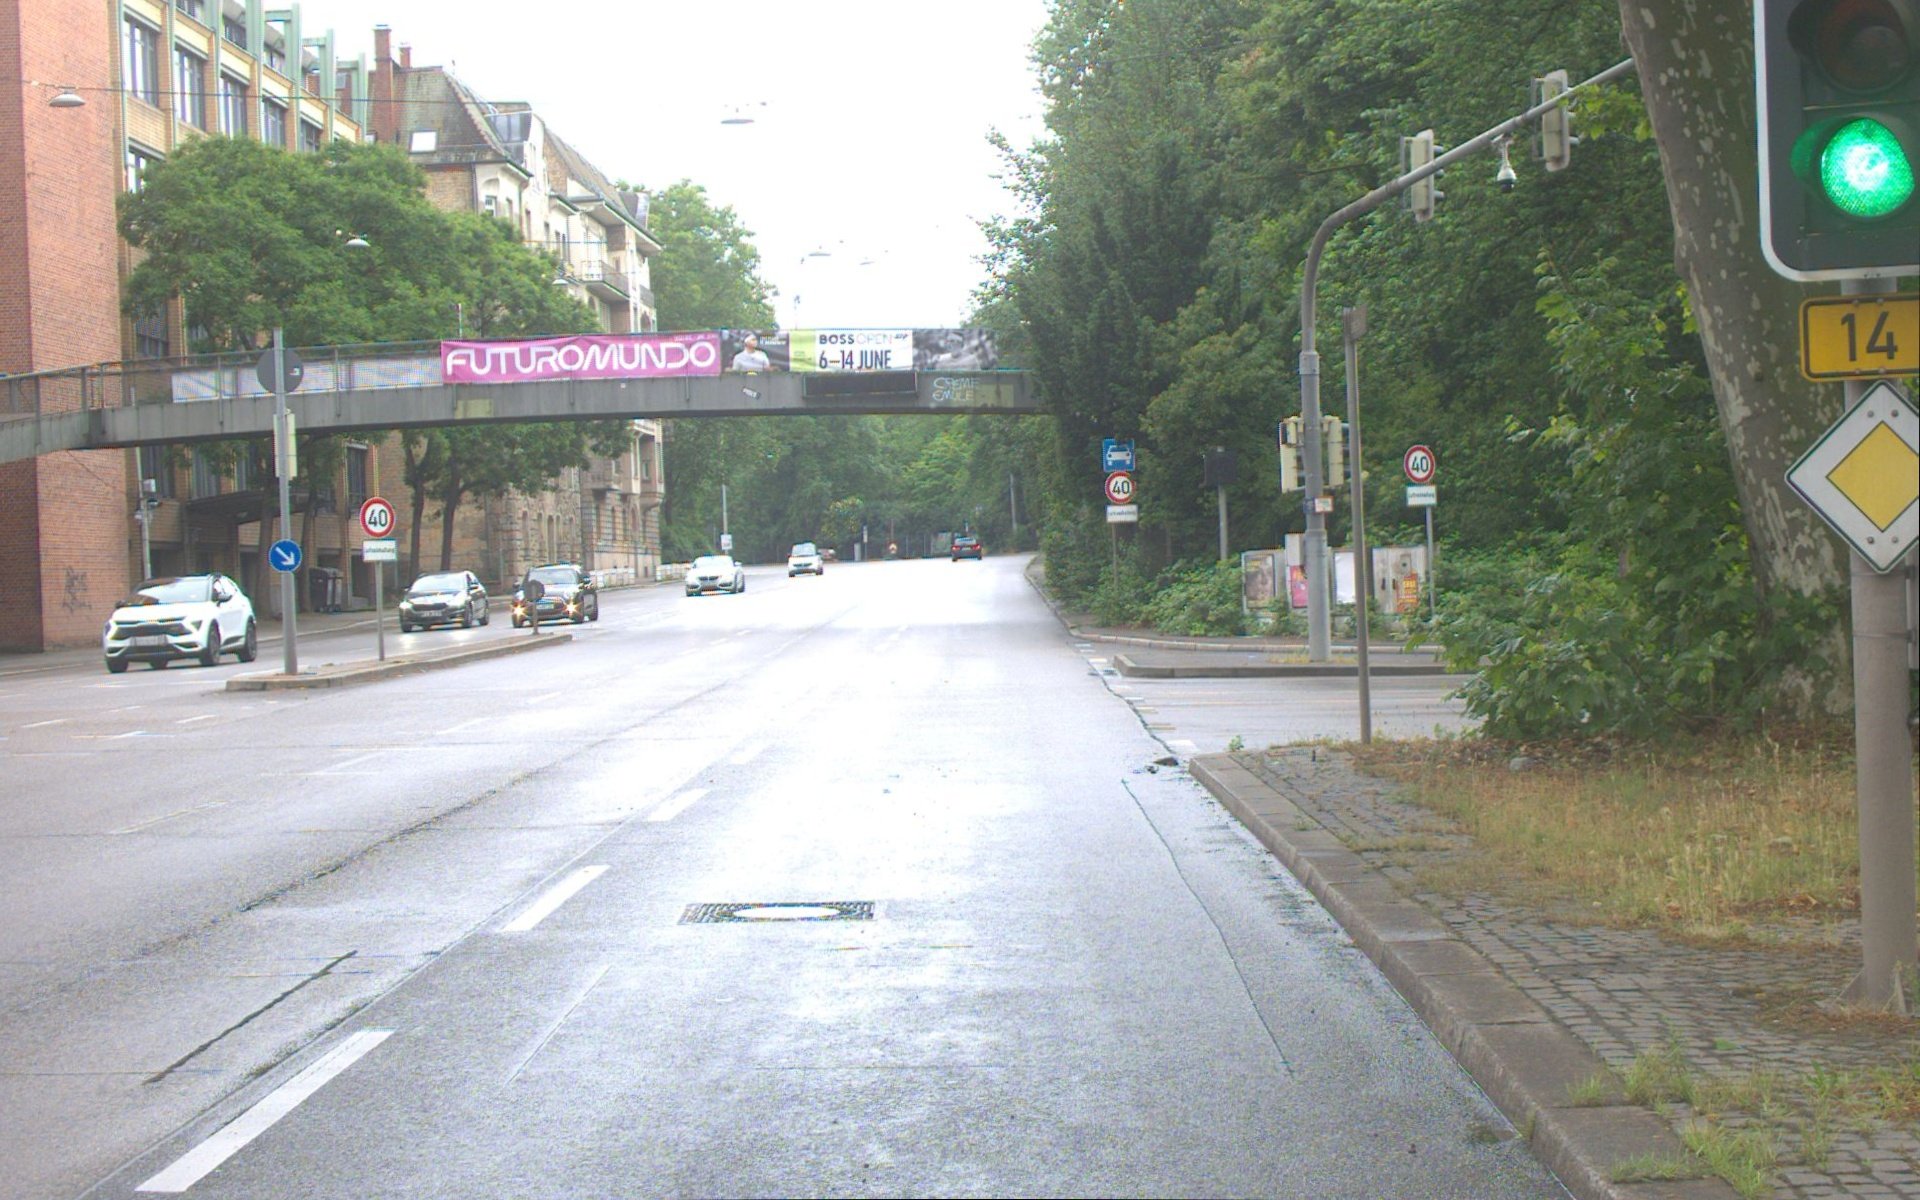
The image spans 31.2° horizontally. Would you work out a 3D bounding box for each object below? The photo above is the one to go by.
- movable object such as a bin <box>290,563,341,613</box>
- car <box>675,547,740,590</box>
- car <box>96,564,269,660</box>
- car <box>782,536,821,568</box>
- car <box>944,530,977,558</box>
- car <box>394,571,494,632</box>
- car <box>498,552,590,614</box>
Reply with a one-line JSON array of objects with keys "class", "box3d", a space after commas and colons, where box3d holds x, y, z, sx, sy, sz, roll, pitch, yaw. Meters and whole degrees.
[{"class": "movable object such as a bin", "box3d": [-20.082, -0.373, 107.186, 1.282, 1.513, 1.273, -1, 1, 1]}, {"class": "car", "box3d": [-8.876, -1.101, 120.997, 1.830, 1.389, 4.405, -3, 0, 1]}, {"class": "car", "box3d": [-13.730, 0.185, 60.959, 1.890, 1.604, 4.456, -1, 0, 2]}, {"class": "car", "box3d": [-7.691, -2.322, 167.058, 1.600, 1.494, 3.711, -3, 0, 1]}, {"class": "car", "box3d": [0.029, -3.445, 210.201, 2.004, 1.638, 4.376, -2, 1, 0]}, {"class": "car", "box3d": [-12.989, 0.017, 86.790, 1.709, 1.459, 4.041, -2, 0, 3]}, {"class": "car", "box3d": [-10.180, -0.419, 84.315, 1.683, 1.431, 3.862, -2, 0, 1]}]
